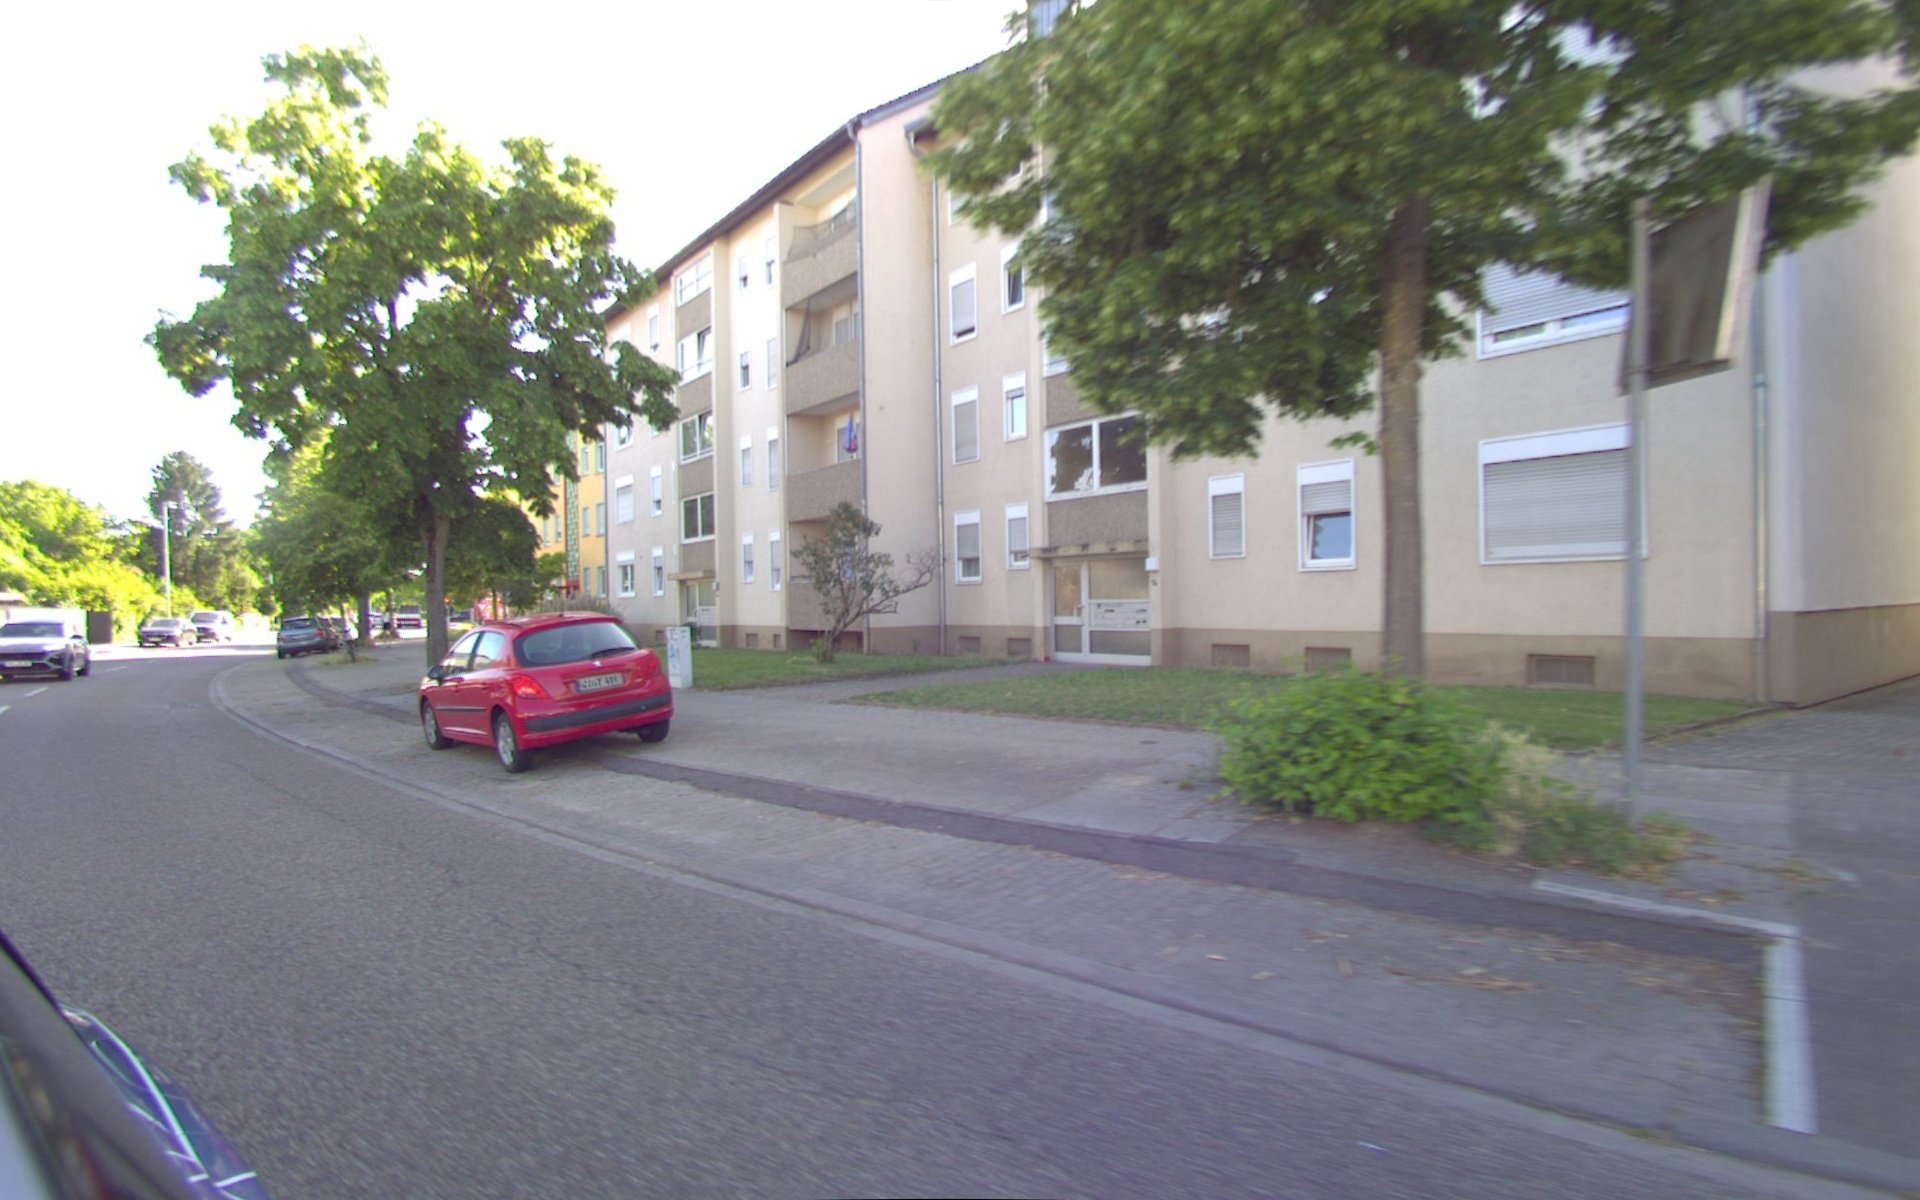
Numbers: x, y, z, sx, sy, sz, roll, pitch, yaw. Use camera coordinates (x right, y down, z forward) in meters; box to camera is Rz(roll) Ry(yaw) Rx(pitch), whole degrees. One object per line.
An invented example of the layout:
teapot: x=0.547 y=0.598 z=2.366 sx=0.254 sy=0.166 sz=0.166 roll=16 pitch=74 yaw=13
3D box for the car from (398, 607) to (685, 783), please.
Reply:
car: x=-4.805 y=0.923 z=11.331 sx=1.638 sy=1.505 sz=3.912 roll=-5 pitch=2 yaw=-43

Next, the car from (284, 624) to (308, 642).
car: x=-60.080 y=2.968 z=91.600 sx=1.613 sy=1.590 sz=3.715 roll=-1 pitch=-1 yaw=-30

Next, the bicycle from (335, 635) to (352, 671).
bicycle: x=-18.321 y=1.563 z=30.048 sx=0.352 sy=1.015 sz=1.203 roll=-2 pitch=-1 yaw=-34

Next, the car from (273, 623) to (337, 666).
car: x=-25.324 y=1.699 z=39.211 sx=1.624 sy=1.551 sz=3.716 roll=-1 pitch=-1 yaw=-26

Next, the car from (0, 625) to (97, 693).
car: x=-23.507 y=1.452 z=25.832 sx=1.555 sy=1.590 sz=3.715 roll=-1 pitch=-1 yaw=-30

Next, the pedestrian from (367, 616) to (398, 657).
pedestrian: x=-23.571 y=1.480 z=41.317 sx=0.946 sy=1.641 sz=0.734 roll=-1 pitch=-1 yaw=-13

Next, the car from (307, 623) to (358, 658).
car: x=-29.441 y=1.884 z=47.548 sx=1.624 sy=1.551 sz=3.716 roll=-1 pitch=-1 yaw=-26

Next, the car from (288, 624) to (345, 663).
car: x=-27.416 y=1.817 z=43.214 sx=1.624 sy=1.551 sz=3.716 roll=-1 pitch=-1 yaw=-26

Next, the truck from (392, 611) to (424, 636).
truck: x=-55.010 y=2.313 z=100.919 sx=2.373 sy=2.384 sz=4.540 roll=-1 pitch=-1 yaw=-22

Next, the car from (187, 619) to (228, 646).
car: x=-46.728 y=2.036 z=62.903 sx=1.613 sy=1.590 sz=3.715 roll=-1 pitch=-1 yaw=-30

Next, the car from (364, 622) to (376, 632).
car: x=-89.937 y=4.079 z=154.339 sx=1.521 sy=1.476 sz=3.715 roll=-1 pitch=-1 yaw=-30

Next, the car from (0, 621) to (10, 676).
car: x=-30.862 y=1.502 z=30.952 sx=1.748 sy=1.750 sz=3.715 roll=2 pitch=-3 yaw=-30

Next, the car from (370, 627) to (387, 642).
car: x=-62.334 y=3.698 z=108.507 sx=1.521 sy=1.476 sz=3.715 roll=-1 pitch=-1 yaw=-30
